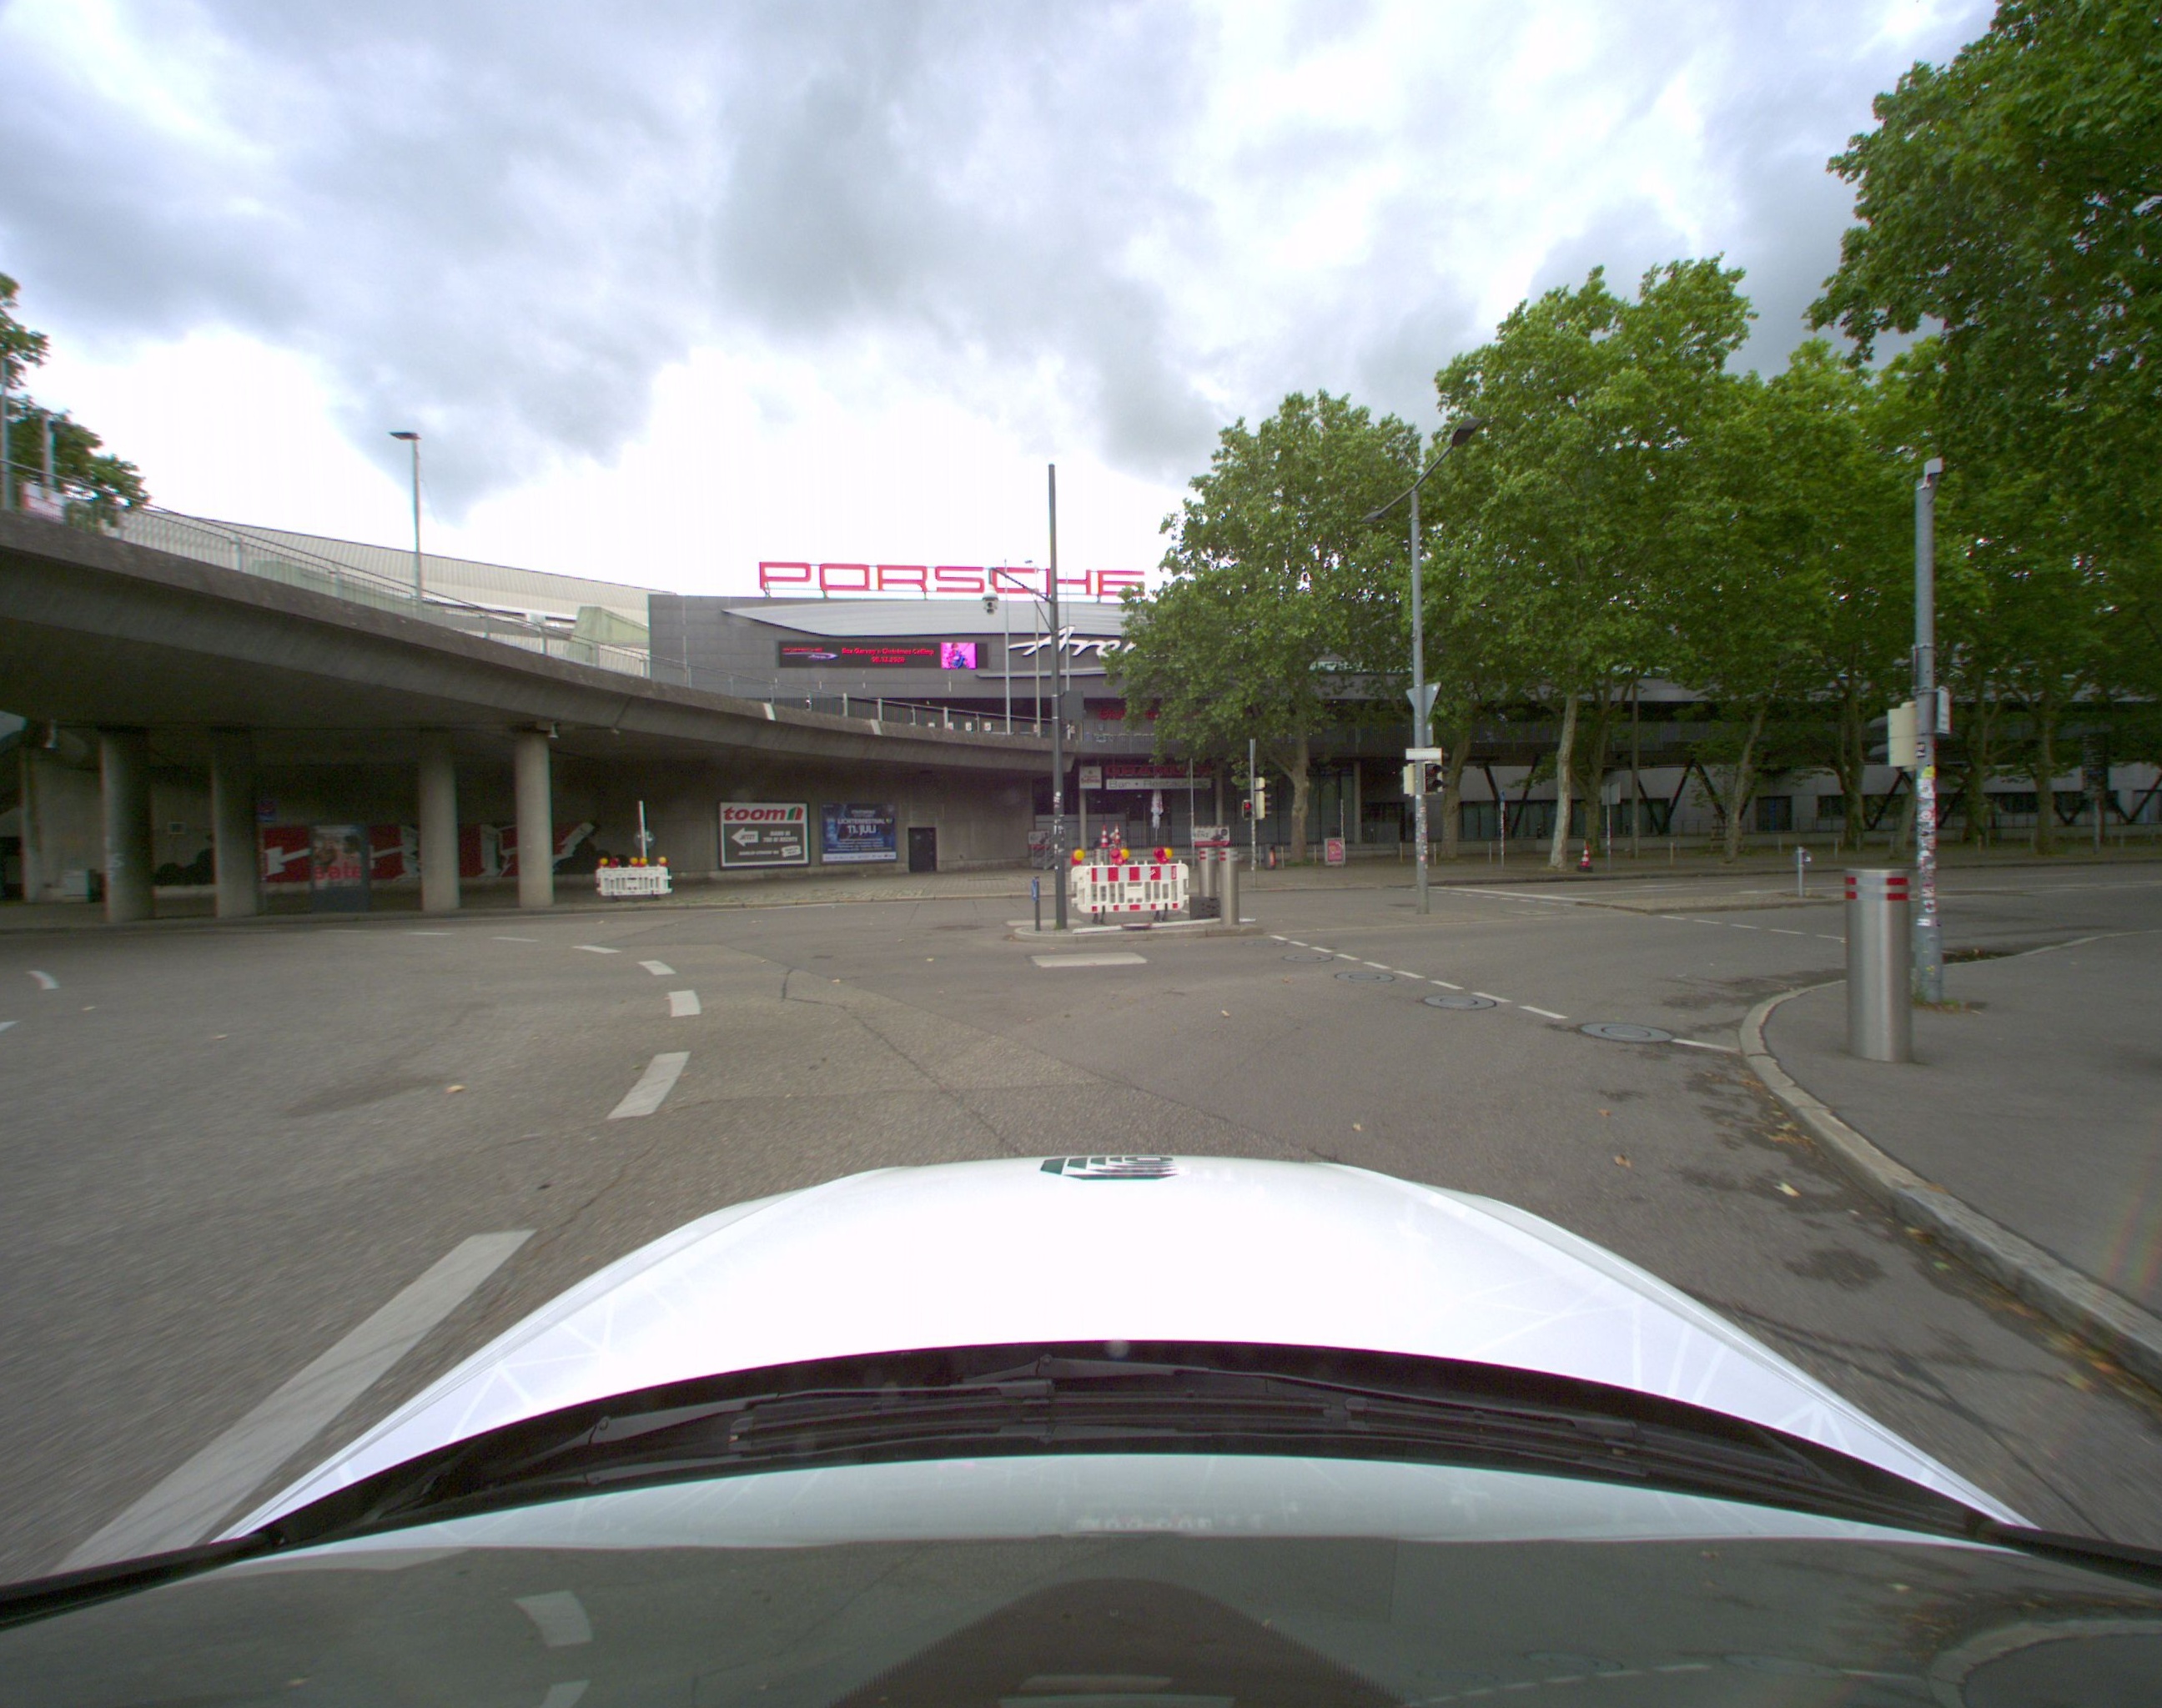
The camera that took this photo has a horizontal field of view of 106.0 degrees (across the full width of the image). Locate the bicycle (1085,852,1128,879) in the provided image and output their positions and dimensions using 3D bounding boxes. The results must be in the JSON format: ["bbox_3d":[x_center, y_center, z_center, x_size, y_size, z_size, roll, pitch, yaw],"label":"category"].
[{"bbox_3d":[0.961,0.418,30.886,1.533,1.013,0.515,0,0,-10],"label":"bicycle"}]

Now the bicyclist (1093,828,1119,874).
[{"bbox_3d":[0.960,-0.114,30.894,0.851,1.697,0.764,0,0,-10],"label":"bicyclist"}]
